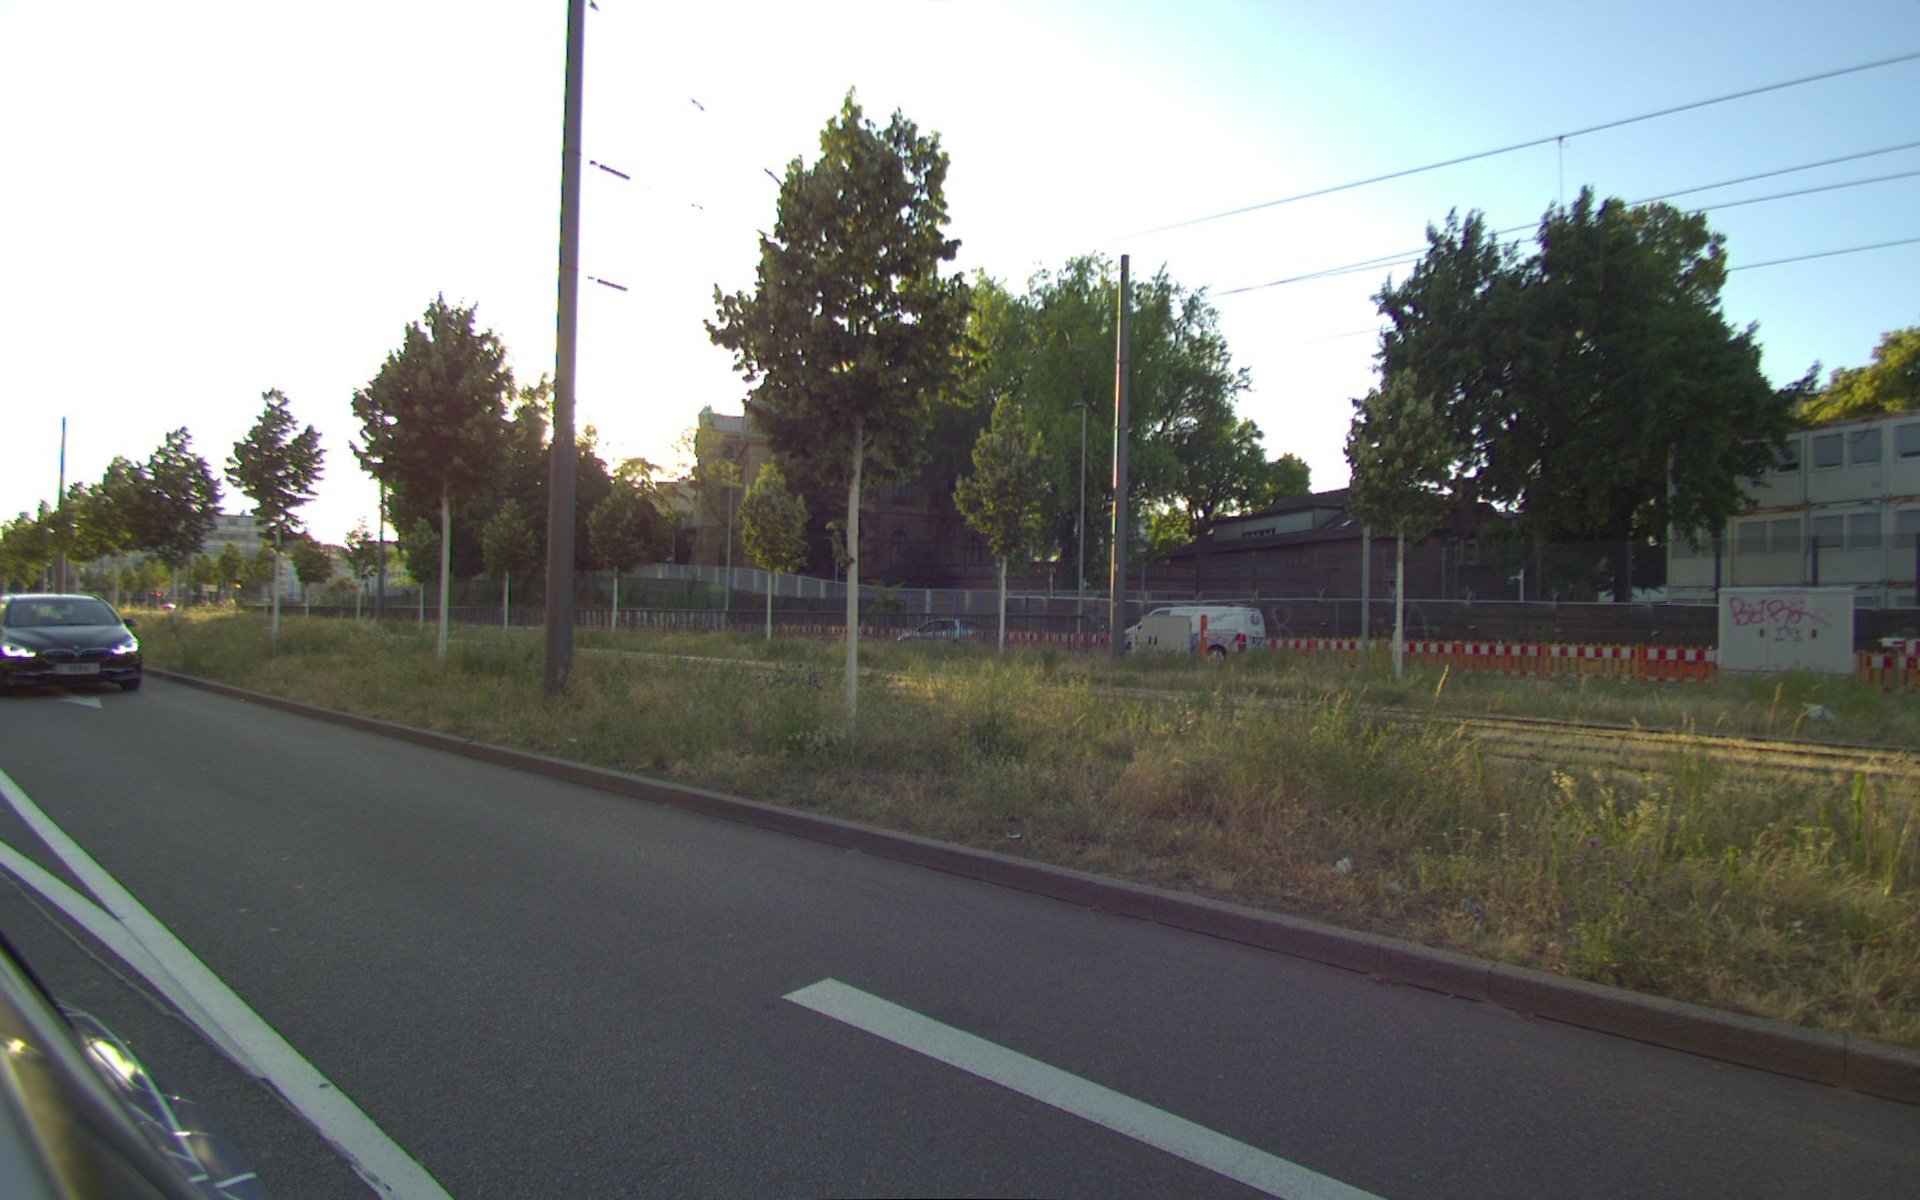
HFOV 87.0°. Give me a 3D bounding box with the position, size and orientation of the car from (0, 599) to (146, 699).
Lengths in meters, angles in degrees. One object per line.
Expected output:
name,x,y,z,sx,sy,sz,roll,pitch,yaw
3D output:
car,-15.135,0.760,16.814,4.842,1.444,1.834,-2,-1,43

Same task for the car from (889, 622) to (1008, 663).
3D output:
car,-0.485,1.656,39.784,4.520,1.492,1.972,-2,-1,42

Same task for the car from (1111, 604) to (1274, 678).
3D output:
car,7.417,1.288,32.577,4.750,2.184,1.972,-2,-1,42
